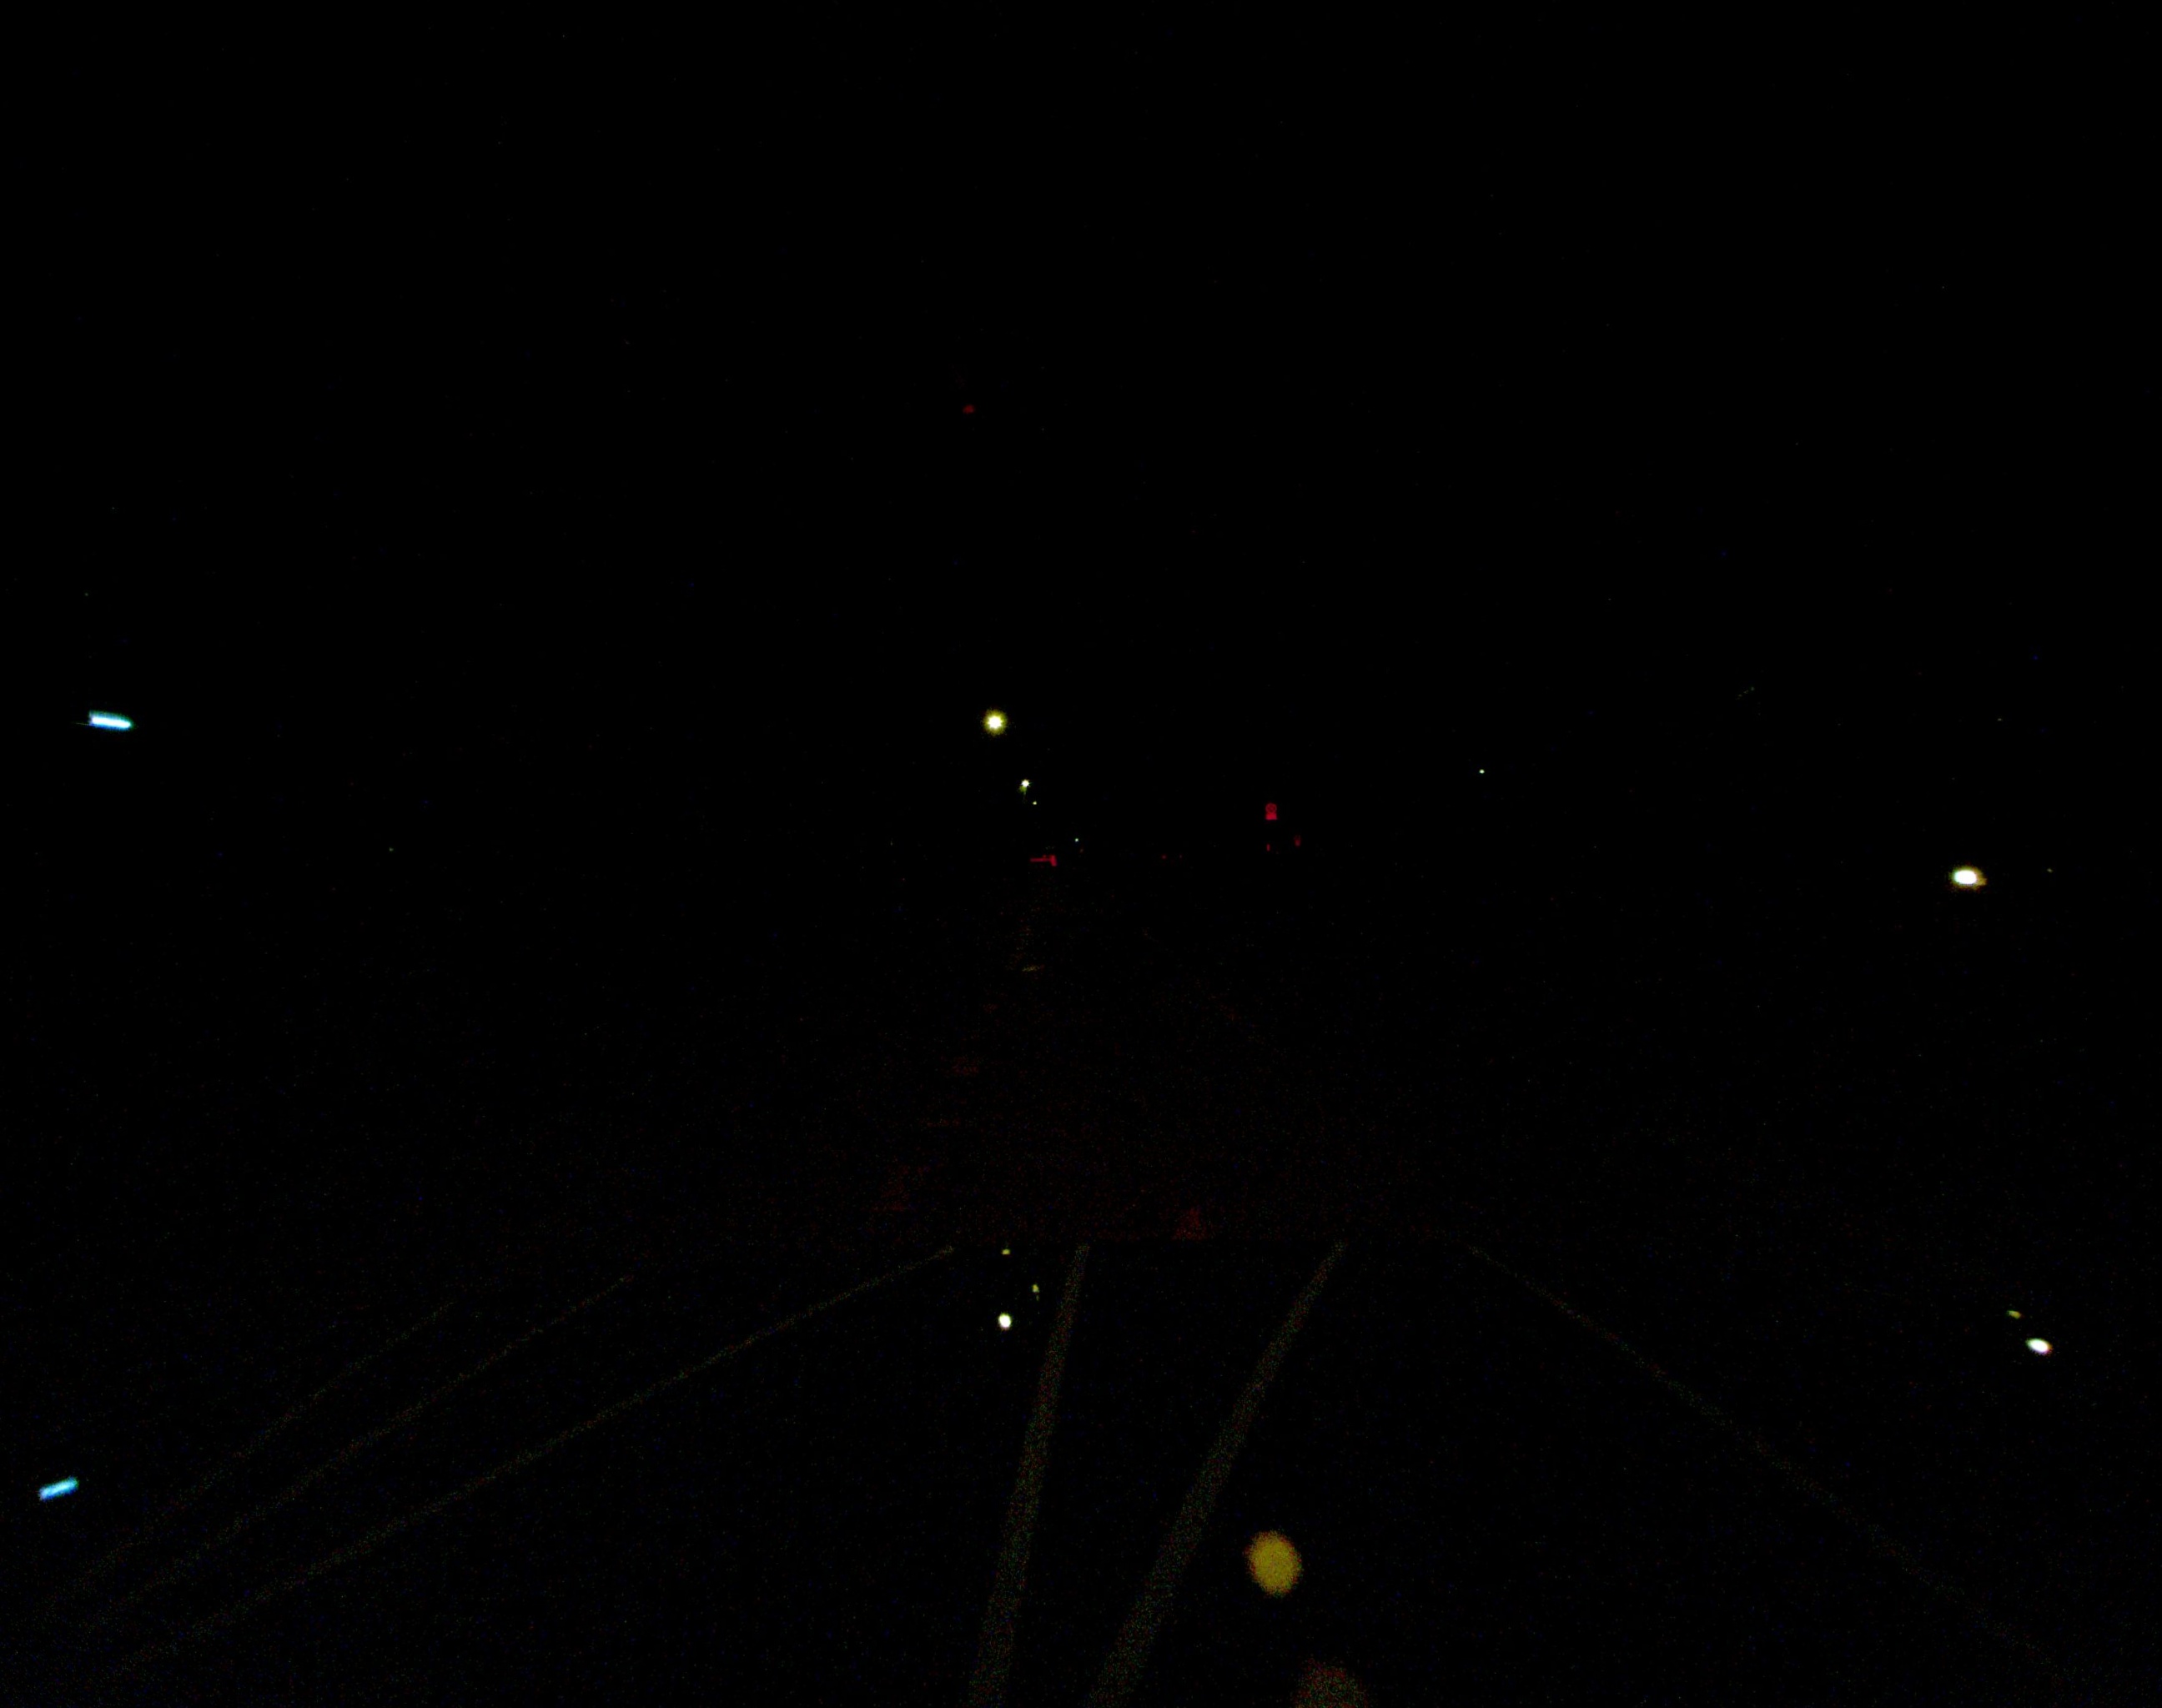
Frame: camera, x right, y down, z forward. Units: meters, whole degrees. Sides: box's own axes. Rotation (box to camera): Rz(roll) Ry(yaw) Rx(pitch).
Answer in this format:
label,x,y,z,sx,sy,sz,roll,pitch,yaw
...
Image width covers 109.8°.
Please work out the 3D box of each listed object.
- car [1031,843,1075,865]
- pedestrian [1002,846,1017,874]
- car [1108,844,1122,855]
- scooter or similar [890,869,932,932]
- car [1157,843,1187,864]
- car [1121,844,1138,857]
label,x,y,z,sx,sy,sz,roll,pitch,yaw
car,-2.583,-0.014,70.782,3.997,1.821,1.912,-3,2,0
pedestrian,-4.750,0.408,50.386,0.824,1.809,0.608,-3,2,1
car,5.256,-0.687,118.351,1.911,1.445,3.999,-3,2,1
scooter or similar,-3.631,0.965,16.315,0.570,1.271,1.391,0,0,0
car,7.236,-0.065,61.009,1.911,1.445,3.999,-3,2,1
car,6.377,-0.506,100.382,1.911,1.445,3.999,-3,2,1
